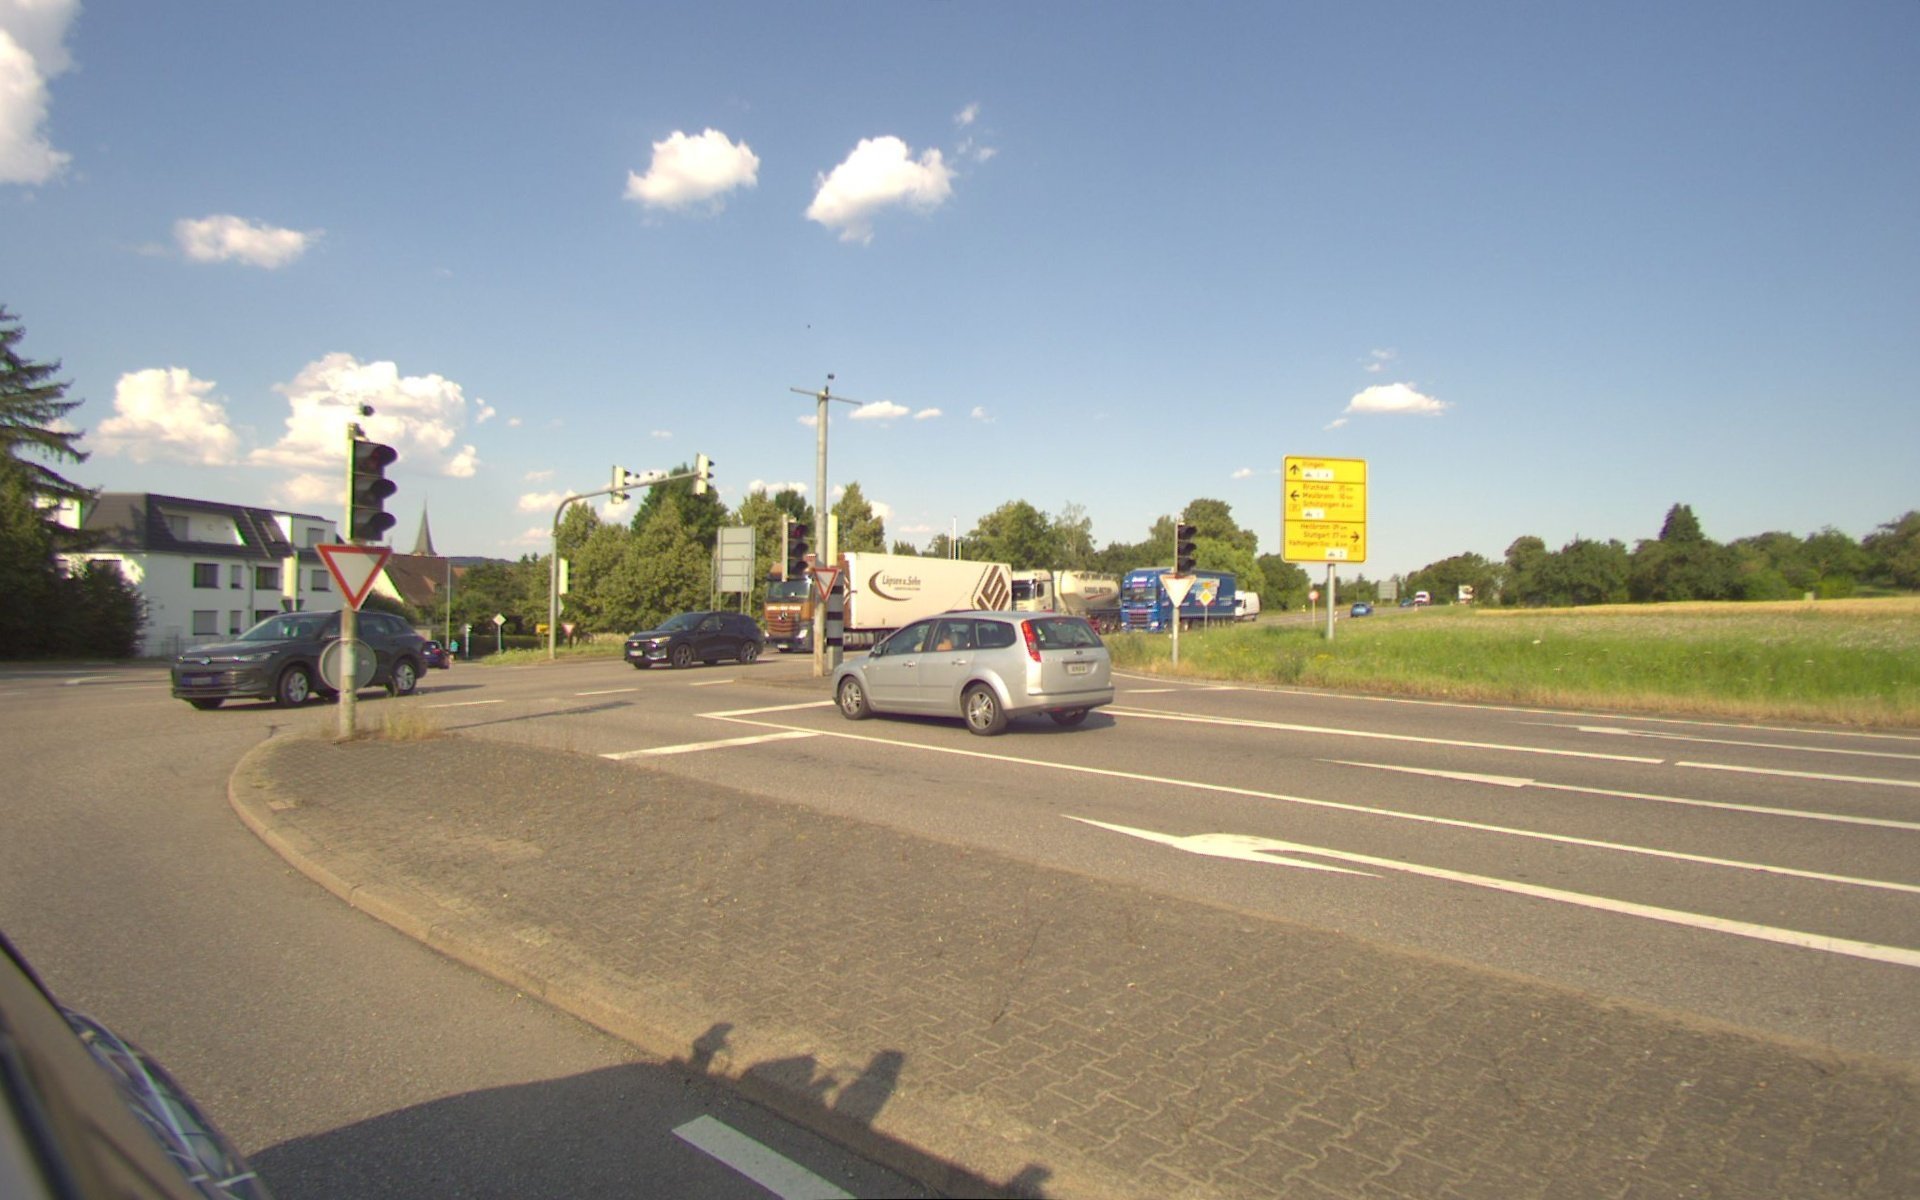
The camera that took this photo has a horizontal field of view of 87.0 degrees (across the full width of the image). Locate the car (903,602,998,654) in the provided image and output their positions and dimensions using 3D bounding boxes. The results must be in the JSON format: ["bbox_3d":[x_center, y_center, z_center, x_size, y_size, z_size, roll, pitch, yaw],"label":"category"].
[{"bbox_3d":[-0.321,1.112,41.328,1.901,1.962,4.326,-2,-1,31],"label":"car"}]

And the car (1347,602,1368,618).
[{"bbox_3d":[39.353,1.033,100.066,1.754,1.512,3.968,-1,-2,24],"label":"car"}]

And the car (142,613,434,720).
[{"bbox_3d":[-11.628,1.077,17.958,1.769,1.641,4.455,-1,-1,10],"label":"car"}]

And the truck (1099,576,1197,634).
[{"bbox_3d":[13.990,0.351,74.083,2.522,3.802,12.760,-2,-1,31],"label":"truck"}]

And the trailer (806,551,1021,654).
[{"bbox_3d":[-1.623,0.196,47.356,2.531,4.098,14.183,-2,-2,31],"label":"trailer"}]

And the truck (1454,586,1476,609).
[{"bbox_3d":[105.552,-0.443,211.505,3.439,4.531,9.388,-2,-1,31],"label":"truck"}]

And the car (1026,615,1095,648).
[{"bbox_3d":[5.138,1.572,51.286,1.993,1.497,3.958,-3,-1,31],"label":"car"}]

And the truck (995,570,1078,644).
[{"bbox_3d":[4.326,0.392,56.272,2.254,3.834,5.626,-2,-1,31],"label":"truck"}]

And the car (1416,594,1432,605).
[{"bbox_3d":[85.589,-0.103,186.622,1.995,2.029,3.953,-3,-1,35],"label":"car"}]

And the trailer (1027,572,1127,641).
[{"bbox_3d":[7.247,0.410,61.200,2.257,3.806,9.425,-3,-2,31],"label":"trailer"}]

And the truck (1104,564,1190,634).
[{"bbox_3d":[11.498,-0.022,61.909,3.364,4.035,5.543,-2,-1,31],"label":"truck"}]

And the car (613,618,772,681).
[{"bbox_3d":[-7.735,1.404,29.679,1.770,1.625,4.498,-2,-1,32],"label":"car"}]

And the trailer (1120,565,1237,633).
[{"bbox_3d":[14.924,-0.020,67.753,3.406,4.035,13.605,-2,-1,31],"label":"trailer"}]

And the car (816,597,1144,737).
[{"bbox_3d":[0.095,0.873,13.421,1.793,1.540,4.358,-1,-3,-42],"label":"car"}]

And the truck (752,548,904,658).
[{"bbox_3d":[-5.234,0.152,41.319,2.532,4.074,6.590,-2,-1,32],"label":"truck"}]
